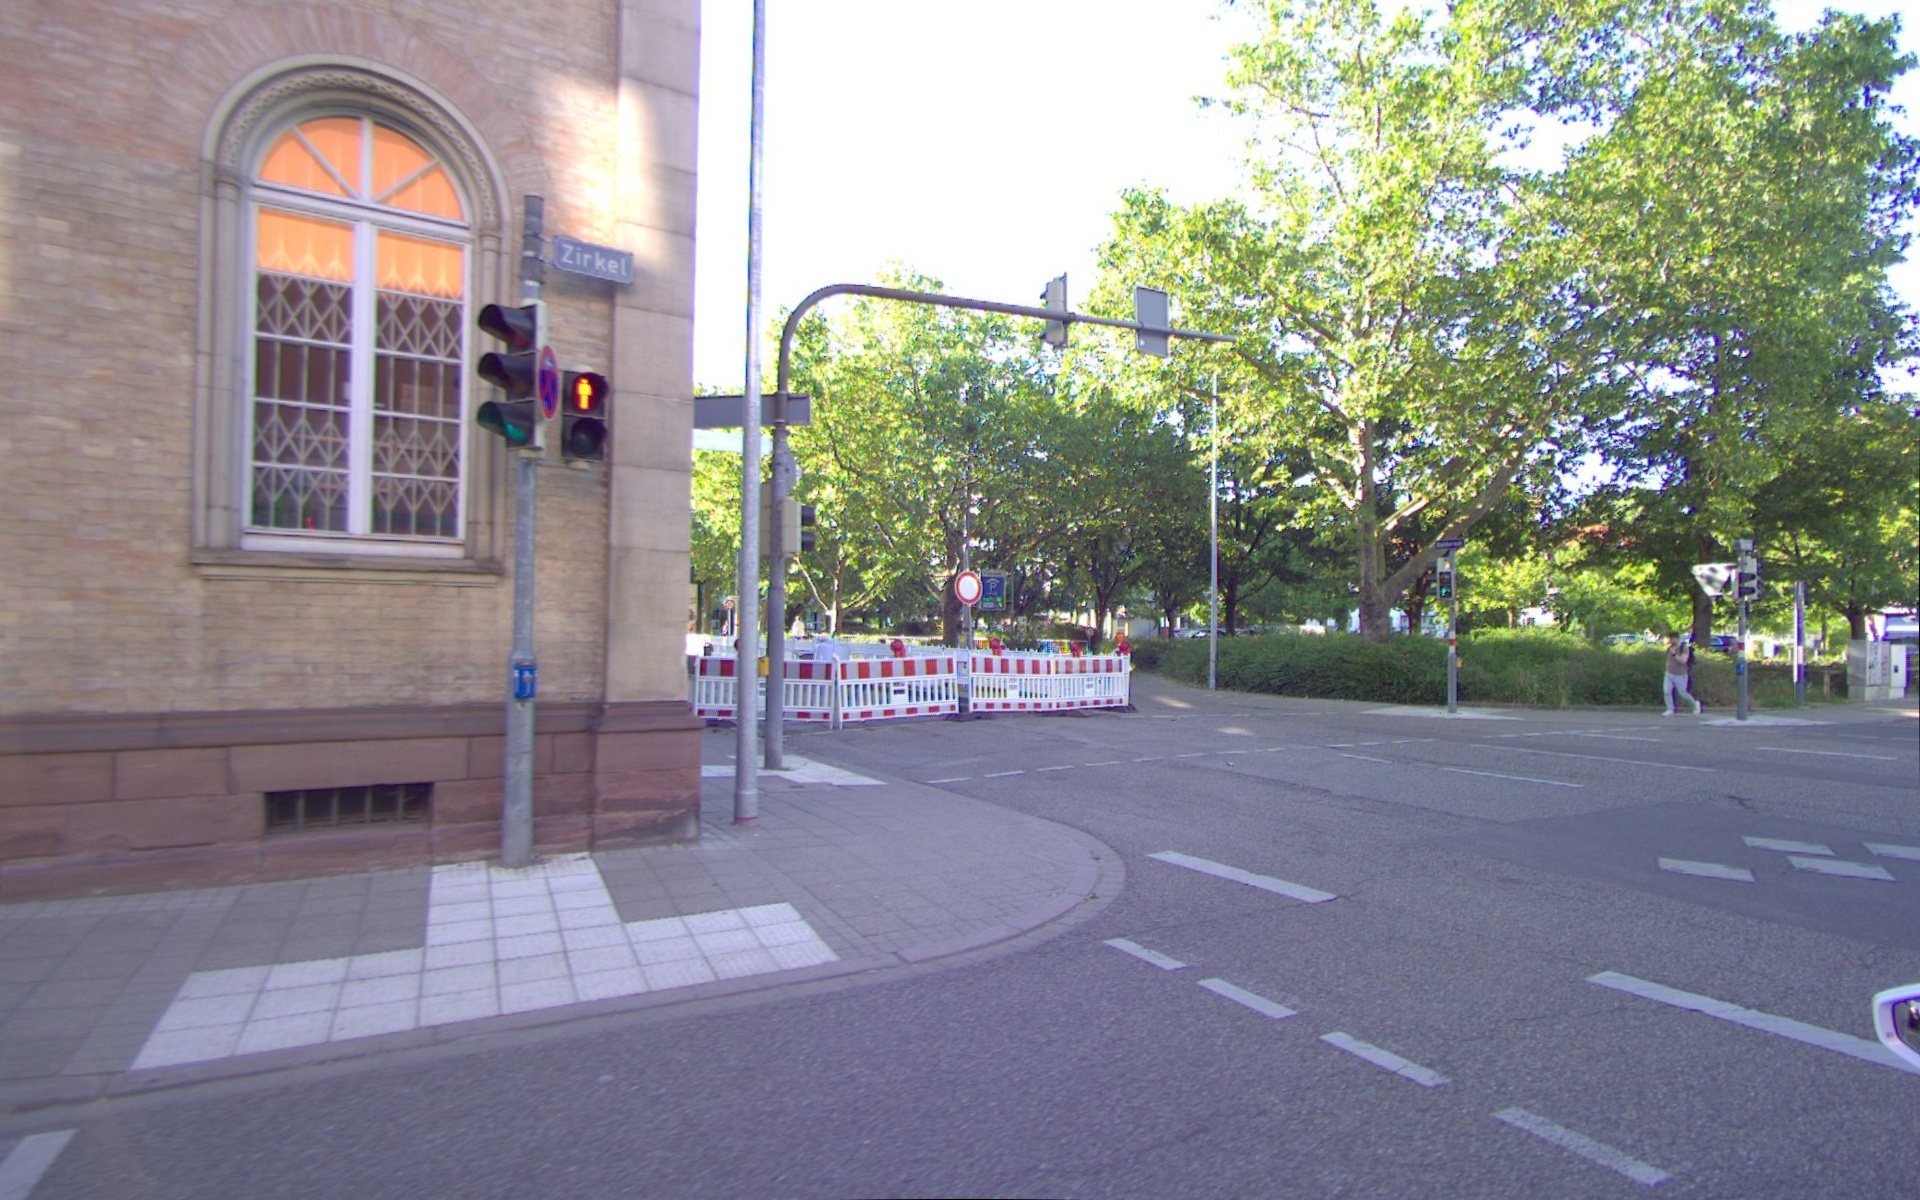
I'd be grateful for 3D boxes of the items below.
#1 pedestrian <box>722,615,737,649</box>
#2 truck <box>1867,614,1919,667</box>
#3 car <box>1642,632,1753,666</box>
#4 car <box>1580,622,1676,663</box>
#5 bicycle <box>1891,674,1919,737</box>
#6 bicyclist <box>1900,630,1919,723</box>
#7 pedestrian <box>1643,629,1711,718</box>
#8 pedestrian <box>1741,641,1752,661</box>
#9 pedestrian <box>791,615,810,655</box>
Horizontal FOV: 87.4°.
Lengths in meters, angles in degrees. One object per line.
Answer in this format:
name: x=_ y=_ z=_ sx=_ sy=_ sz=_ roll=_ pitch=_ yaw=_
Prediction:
pedestrian: x=-13.969 y=1.912 z=60.889 sx=0.602 sy=2.040 sz=0.818 roll=2 pitch=-1 yaw=-36
truck: x=45.617 y=1.921 z=46.690 sx=2.065 sy=2.431 sz=4.799 roll=1 pitch=-1 yaw=-33
car: x=40.514 y=2.674 z=55.262 sx=2.052 sy=1.752 sz=4.530 roll=2 pitch=-3 yaw=-32
car: x=41.059 y=2.631 z=61.856 sx=2.052 sy=2.423 sz=4.530 roll=2 pitch=-3 yaw=-32
bicycle: x=16.469 y=1.772 z=17.014 sx=1.822 sy=0.982 sz=0.612 roll=2 pitch=-2 yaw=-33
bicyclist: x=16.488 y=1.293 z=17.029 sx=0.894 sy=1.552 sz=0.612 roll=2 pitch=-2 yaw=-33
pedestrian: x=14.557 y=1.479 z=20.404 sx=0.940 sy=1.745 sz=0.702 roll=1 pitch=-2 yaw=-20
pedestrian: x=53.959 y=3.510 z=68.928 sx=0.551 sy=1.341 sz=0.575 roll=0 pitch=-2 yaw=40
pedestrian: x=-8.307 y=1.827 z=52.299 sx=0.641 sy=2.040 sz=0.818 roll=2 pitch=-1 yaw=-36
